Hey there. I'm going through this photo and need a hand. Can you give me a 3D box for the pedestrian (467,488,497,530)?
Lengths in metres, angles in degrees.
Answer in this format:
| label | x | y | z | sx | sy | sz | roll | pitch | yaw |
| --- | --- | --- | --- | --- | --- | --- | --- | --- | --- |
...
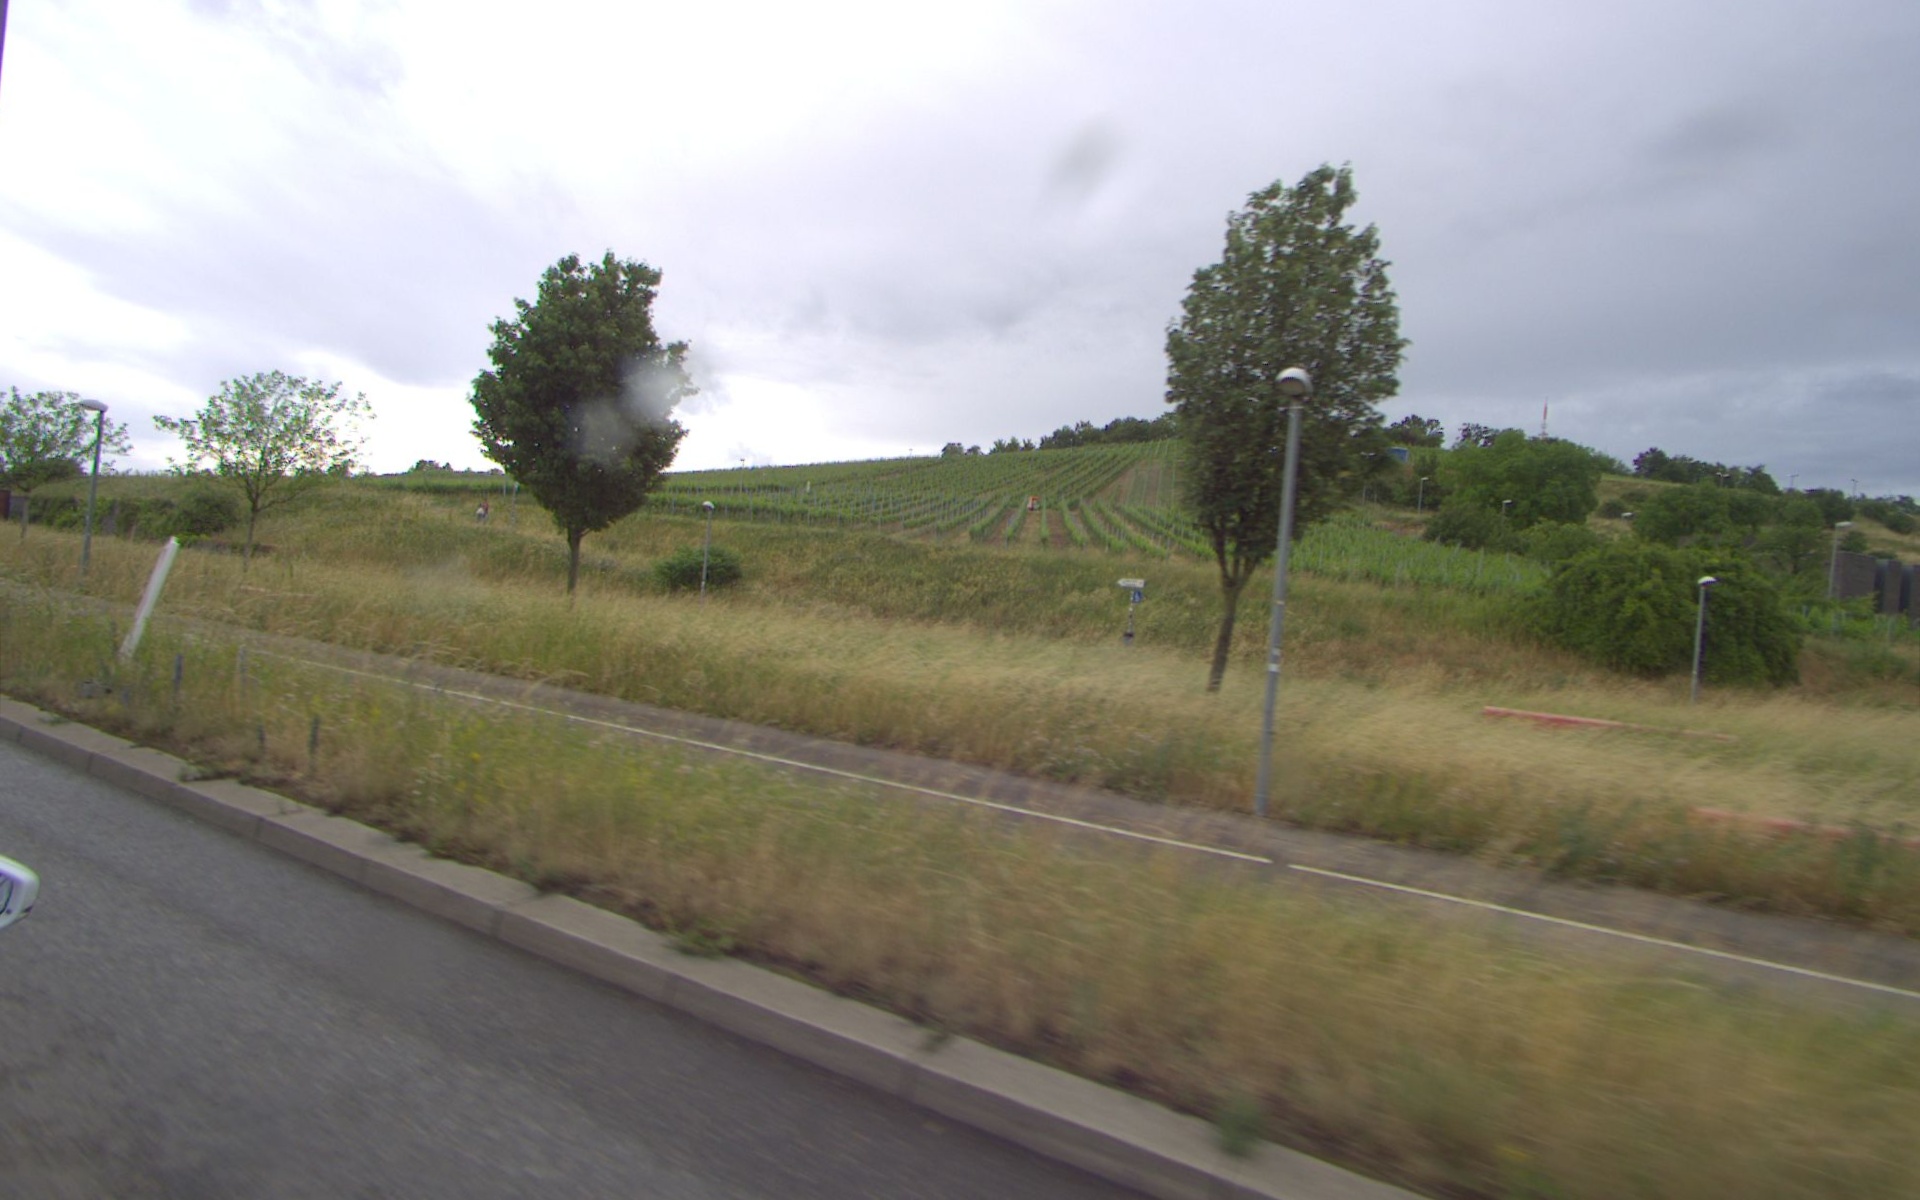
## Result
| label | x | y | z | sx | sy | sz | roll | pitch | yaw |
| --- | --- | --- | --- | --- | --- | --- | --- | --- | --- |
| pedestrian | -25.146 | -4.785 | 52.886 | 1.036 | 2.040 | 0.780 | 7 | 3 | -4 |
